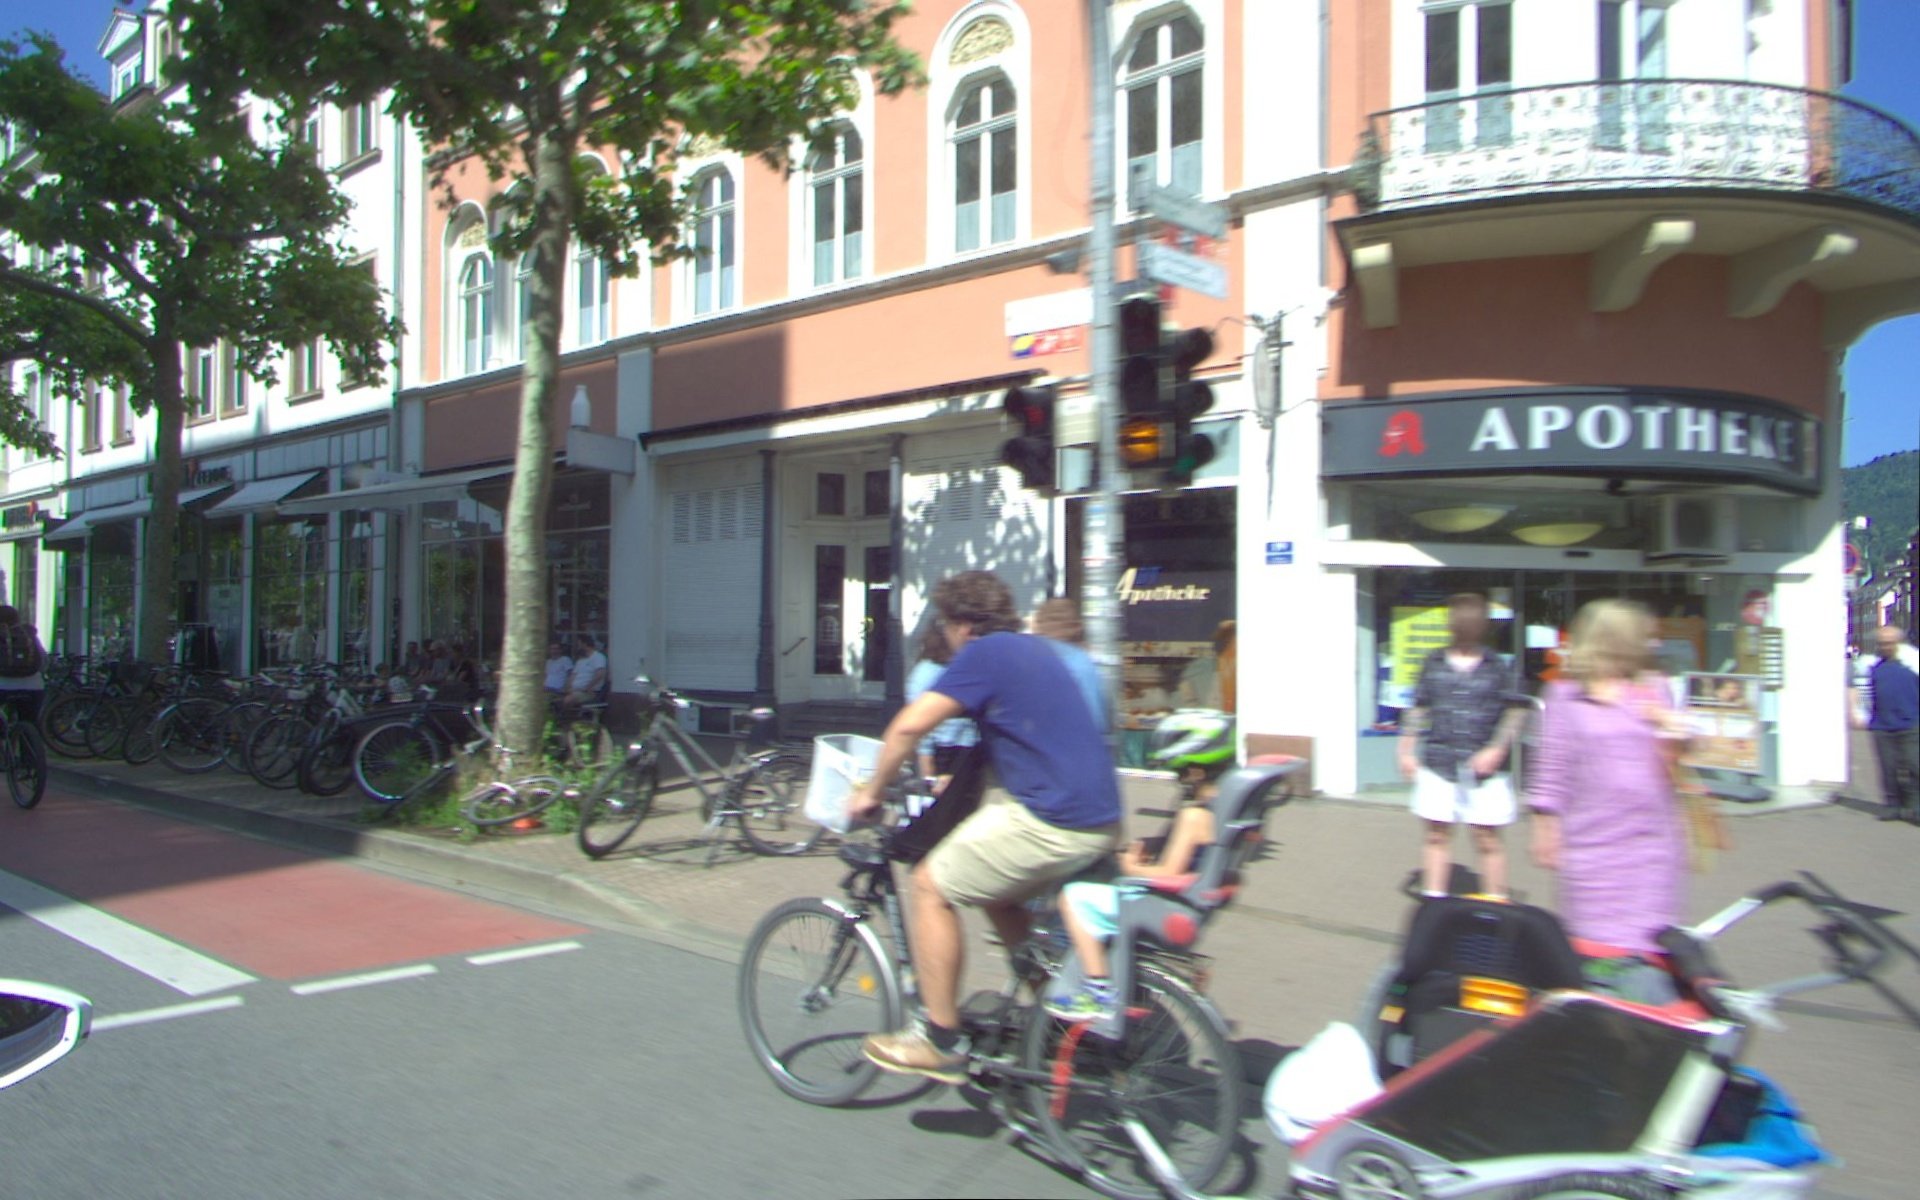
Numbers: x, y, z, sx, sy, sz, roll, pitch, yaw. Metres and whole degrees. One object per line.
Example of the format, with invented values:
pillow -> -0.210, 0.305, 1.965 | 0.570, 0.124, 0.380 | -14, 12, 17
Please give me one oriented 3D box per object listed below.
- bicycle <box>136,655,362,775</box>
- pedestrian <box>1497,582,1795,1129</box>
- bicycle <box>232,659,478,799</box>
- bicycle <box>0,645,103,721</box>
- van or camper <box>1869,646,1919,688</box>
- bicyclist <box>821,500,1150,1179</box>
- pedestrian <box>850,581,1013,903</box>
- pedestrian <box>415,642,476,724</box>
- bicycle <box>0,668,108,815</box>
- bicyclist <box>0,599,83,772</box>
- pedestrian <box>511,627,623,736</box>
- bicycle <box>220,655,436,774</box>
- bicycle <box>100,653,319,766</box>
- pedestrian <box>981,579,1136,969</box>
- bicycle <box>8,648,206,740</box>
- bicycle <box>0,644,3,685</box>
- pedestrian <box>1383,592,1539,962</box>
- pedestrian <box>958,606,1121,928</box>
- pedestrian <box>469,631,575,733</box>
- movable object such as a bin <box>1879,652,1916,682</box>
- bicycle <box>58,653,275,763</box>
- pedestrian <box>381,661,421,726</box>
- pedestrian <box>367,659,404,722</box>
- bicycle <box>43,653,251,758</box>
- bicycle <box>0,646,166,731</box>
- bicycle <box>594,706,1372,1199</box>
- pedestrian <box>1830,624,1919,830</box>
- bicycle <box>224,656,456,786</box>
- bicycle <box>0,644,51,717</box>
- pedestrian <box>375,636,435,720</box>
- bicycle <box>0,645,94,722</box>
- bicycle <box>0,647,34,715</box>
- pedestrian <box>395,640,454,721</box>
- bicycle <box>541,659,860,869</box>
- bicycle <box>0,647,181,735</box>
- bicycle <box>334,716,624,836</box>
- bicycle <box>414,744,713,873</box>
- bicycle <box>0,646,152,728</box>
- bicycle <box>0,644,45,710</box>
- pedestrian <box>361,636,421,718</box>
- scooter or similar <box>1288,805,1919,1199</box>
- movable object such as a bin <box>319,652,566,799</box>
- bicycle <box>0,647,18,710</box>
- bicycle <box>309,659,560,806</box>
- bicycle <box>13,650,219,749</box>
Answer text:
bicycle -> -7.460, 1.159, 10.597 | 0.635, 1.141, 1.836 | -1, -3, 34
pedestrian -> 2.459, 0.847, 3.692 | 0.778, 1.729, 0.639 | -2, -6, 30
bicycle -> -5.545, 1.131, 9.284 | 0.659, 1.141, 1.833 | -1, -3, 39
bicycle -> -14.740, 1.302, 16.098 | 0.439, 1.141, 1.847 | 0, -2, -4
van or camper -> 47.914, 3.372, 51.263 | 1.978, 2.039, 3.968 | -1, -3, 42
bicyclist -> 0.105, 0.612, 3.002 | 0.762, 1.695, 0.731 | 0, -1, 25
pedestrian -> -0.161, 0.826, 6.169 | 0.631, 1.817, 0.787 | 1, -3, 30
pedestrian -> -8.270, 1.317, 16.092 | 0.600, 1.269, 0.638 | -1, -1, 30
bicycle -> -8.438, 1.192, 8.837 | 2.050, 1.140, 0.698 | -1, -4, 30
bicyclist -> -8.463, 0.745, 8.874 | 0.946, 1.463, 0.698 | 0, -3, 29
pedestrian -> -5.694, 1.161, 14.556 | 0.825, 1.502, 1.251 | -1, -3, 30
bicycle -> -6.691, 1.164, 10.693 | 0.657, 1.141, 1.836 | -1, -3, 34
bicycle -> -8.314, 1.164, 11.178 | 0.657, 1.141, 1.836 | -1, -3, 34
pedestrian -> 0.501, 0.824, 5.045 | 0.599, 1.817, 0.452 | 1, -3, 30
bicycle -> -11.436, 1.226, 13.482 | 1.974, 1.141, 0.754 | 2, -3, -45
bicycle -> -18.084, 1.288, 17.489 | 0.622, 1.140, 1.844 | 0, -5, 22
pedestrian -> 2.762, 0.924, 5.526 | 0.608, 1.865, 0.636 | -2, -5, 44
pedestrian -> 0.482, 0.916, 5.855 | 0.631, 1.711, 0.787 | 1, -3, 30
pedestrian -> -6.490, 1.185, 14.887 | 0.778, 1.440, 1.231 | -1, -2, 30
movable object such as a bin -> 37.195, 2.640, 39.740 | 0.955, 1.162, 1.255 | -1, -2, 38
bicycle -> -9.052, 1.189, 11.509 | 0.657, 1.141, 1.836 | -1, -3, 34
pedestrian -> -8.712, 1.443, 15.614 | 0.431, 0.980, 0.364 | 0, -2, 34
pedestrian -> -9.208, 1.441, 16.059 | 0.431, 0.980, 0.340 | 0, -2, 34
bicycle -> -9.607, 1.201, 11.909 | 0.523, 1.141, 1.836 | -2, -3, 34
bicycle -> -12.626, 1.235, 14.394 | 0.442, 1.141, 1.835 | -2, -3, 35
bicycle -> 0.010, 1.054, 3.066 | 2.245, 1.285, 0.732 | 1, -2, 26
pedestrian -> 8.076, 1.077, 8.641 | 0.781, 1.679, 0.636 | 2, -1, 43
bicycle -> -6.064, 1.135, 9.897 | 0.657, 1.141, 1.836 | -1, -3, 34
bicycle -> -15.182, 1.246, 15.498 | 0.582, 1.141, 1.847 | 0, -3, -3
pedestrian -> -9.236, 1.281, 16.673 | 0.524, 1.355, 0.680 | 0, -1, 30
bicycle -> -14.269, 1.250, 15.042 | 1.819, 1.141, 0.446 | 1, -2, -30
bicycle -> -16.314, 1.302, 16.206 | 0.556, 1.106, 1.838 | -1, -4, 32
pedestrian -> -8.771, 1.302, 16.403 | 0.524, 1.269, 0.680 | 0, 0, 30
bicycle -> -1.662, 1.060, 6.507 | 1.826, 1.203, 0.715 | 5, -2, -19
bicycle -> -12.018, 1.260, 13.877 | 0.525, 1.140, 1.830 | -2, -5, 45
bicycle -> -3.833, 1.470, 8.112 | 1.020, 0.395, 1.850 | -40, -31, 23
bicycle -> -3.048, 1.613, 7.873 | 1.823, 0.440, 1.137 | -9, 6, 8
bicycle -> -13.015, 1.241, 14.626 | 0.442, 1.141, 1.835 | -2, -3, 35
bicycle -> -16.932, 1.303, 17.022 | 0.752, 1.140, 1.845 | -1, -5, 20
pedestrian -> -9.686, 1.298, 17.061 | 0.524, 1.349, 0.680 | 0, -2, 30
scooter or similar -> 1.398, 1.113, 2.336 | 1.107, 1.073, 0.784 | 0, -3, 26
movable object such as a bin -> -4.654, 1.111, 9.102 | 1.839, 1.203, 0.647 | 5, -4, -42
bicycle -> -17.619, 1.349, 17.303 | 0.555, 1.106, 1.843 | 0, -4, 22
bicycle -> -4.452, 1.116, 8.609 | 1.828, 1.141, 0.342 | 5, -3, -42
bicycle -> -10.488, 1.195, 12.510 | 0.670, 1.141, 1.836 | -1, -3, 34
